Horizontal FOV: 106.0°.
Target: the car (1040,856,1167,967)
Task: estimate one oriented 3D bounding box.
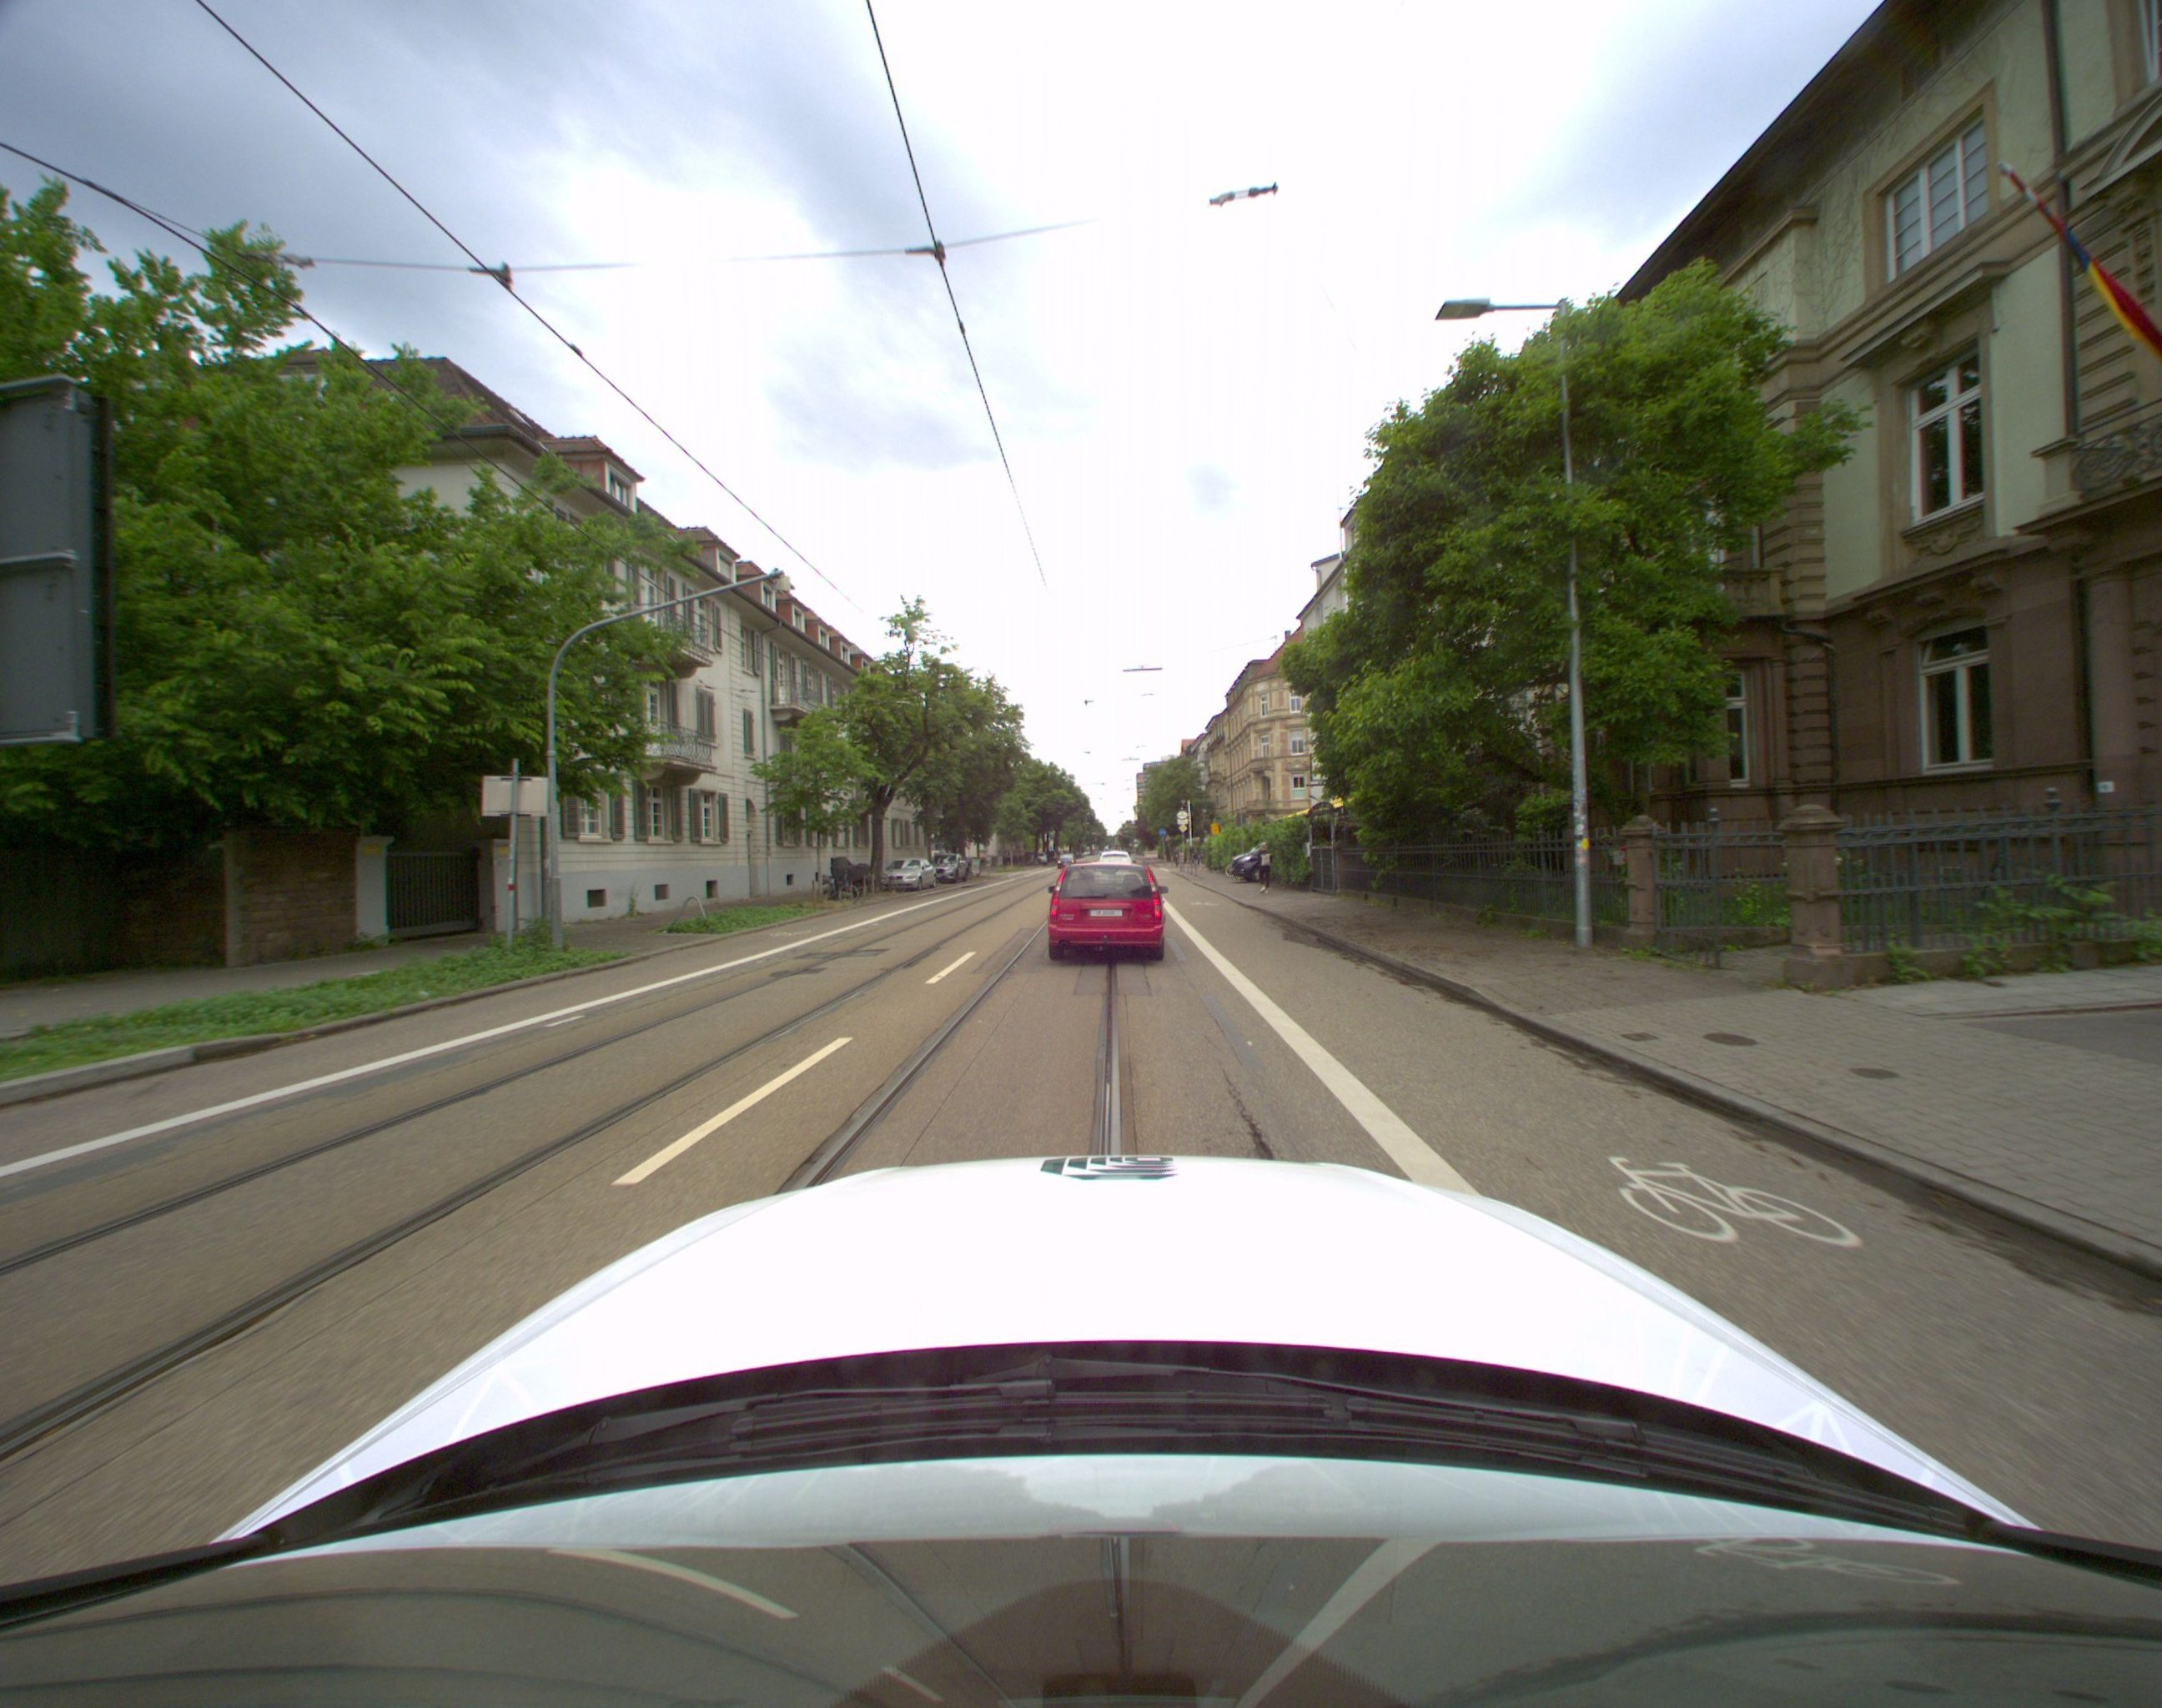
[{"bbox_3d":[0.459,0.772,12.732,1.681,1.441,3.748,-1,0,5],"label":"car"}]

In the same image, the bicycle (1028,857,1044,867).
[{"bbox_3d":[-5.553,0.993,100.079,1.915,1.121,0.624,0,0,1],"label":"bicycle"}]

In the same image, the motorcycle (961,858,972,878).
[{"bbox_3d":[-7.466,0.925,53.133,0.539,1.257,2.139,-2,0,-4],"label":"motorcycle"}]

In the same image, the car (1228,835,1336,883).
[{"bbox_3d":[8.759,0.212,35.798,4.262,1.809,1.825,-4,0,3],"label":"car"}]

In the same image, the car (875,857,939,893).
[{"bbox_3d":[-7.853,0.910,37.242,1.805,1.466,4.616,-1,0,2],"label":"car"}]

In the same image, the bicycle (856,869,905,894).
[{"bbox_3d":[-8.288,1.133,33.770,1.890,1.027,0.563,0,0,-3],"label":"bicycle"}]

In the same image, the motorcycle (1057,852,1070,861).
[{"bbox_3d":[-3.142,0.469,144.490,2.243,1.511,0.932,-2,-2,37],"label":"motorcycle"}]

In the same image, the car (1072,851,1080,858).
[{"bbox_3d":[-1.144,0.211,189.936,1.844,1.563,3.945,-2,0,2],"label":"car"}]

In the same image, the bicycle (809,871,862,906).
[{"bbox_3d":[-8.432,1.175,28.009,1.727,1.129,0.520,-2,0,20],"label":"bicycle"}]

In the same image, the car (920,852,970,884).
[{"bbox_3d":[-7.494,0.761,45.356,1.830,1.661,4.297,1,0,3],"label":"car"}]

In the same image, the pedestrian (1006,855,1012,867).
[{"bbox_3d":[-8.555,0.809,97.310,0.562,1.467,0.723,-2,0,2],"label":"pedestrian"}]

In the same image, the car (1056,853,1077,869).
[{"bbox_3d":[-1.319,0.669,76.932,1.722,1.408,3.657,-2,0,2],"label":"car"}]

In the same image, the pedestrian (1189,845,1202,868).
[{"bbox_3d":[8.476,0.159,60.113,0.790,1.636,0.836,-3,-1,2],"label":"pedestrian"}]

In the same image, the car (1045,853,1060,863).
[{"bbox_3d":[-4.280,0.597,122.947,1.770,1.511,4.241,-1,0,3],"label":"car"}]

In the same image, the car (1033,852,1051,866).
[{"bbox_3d":[-4.937,0.598,103.820,1.890,1.655,4.226,-1,0,1],"label":"car"}]

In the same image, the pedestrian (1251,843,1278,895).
[{"bbox_3d":[6.209,0.494,27.602,0.621,1.671,0.960,-5,0,1],"label":"pedestrian"}]

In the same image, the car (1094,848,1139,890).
[{"bbox_3d":[1.538,0.609,34.350,1.711,1.624,3.945,-2,0,4],"label":"car"}]

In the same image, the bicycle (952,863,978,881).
[{"bbox_3d":[-7.110,1.099,49.913,1.369,1.005,0.931,1,0,6],"label":"bicycle"}]

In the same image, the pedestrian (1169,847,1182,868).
[{"bbox_3d":[7.762,0.290,67.108,0.866,1.656,0.912,-2,0,14],"label":"pedestrian"}]

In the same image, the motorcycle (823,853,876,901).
[{"bbox_3d":[-8.567,0.823,30.215,0.827,1.643,2.487,-2,0,10],"label":"motorcycle"}]

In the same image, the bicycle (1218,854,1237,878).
[{"bbox_3d":[7.558,0.601,42.093,0.630,1.127,1.813,-4,1,2],"label":"bicycle"}]

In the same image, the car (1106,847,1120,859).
[{"bbox_3d":[4.254,-0.124,108.693,1.736,1.606,4.000,-2,0,0],"label":"car"}]
